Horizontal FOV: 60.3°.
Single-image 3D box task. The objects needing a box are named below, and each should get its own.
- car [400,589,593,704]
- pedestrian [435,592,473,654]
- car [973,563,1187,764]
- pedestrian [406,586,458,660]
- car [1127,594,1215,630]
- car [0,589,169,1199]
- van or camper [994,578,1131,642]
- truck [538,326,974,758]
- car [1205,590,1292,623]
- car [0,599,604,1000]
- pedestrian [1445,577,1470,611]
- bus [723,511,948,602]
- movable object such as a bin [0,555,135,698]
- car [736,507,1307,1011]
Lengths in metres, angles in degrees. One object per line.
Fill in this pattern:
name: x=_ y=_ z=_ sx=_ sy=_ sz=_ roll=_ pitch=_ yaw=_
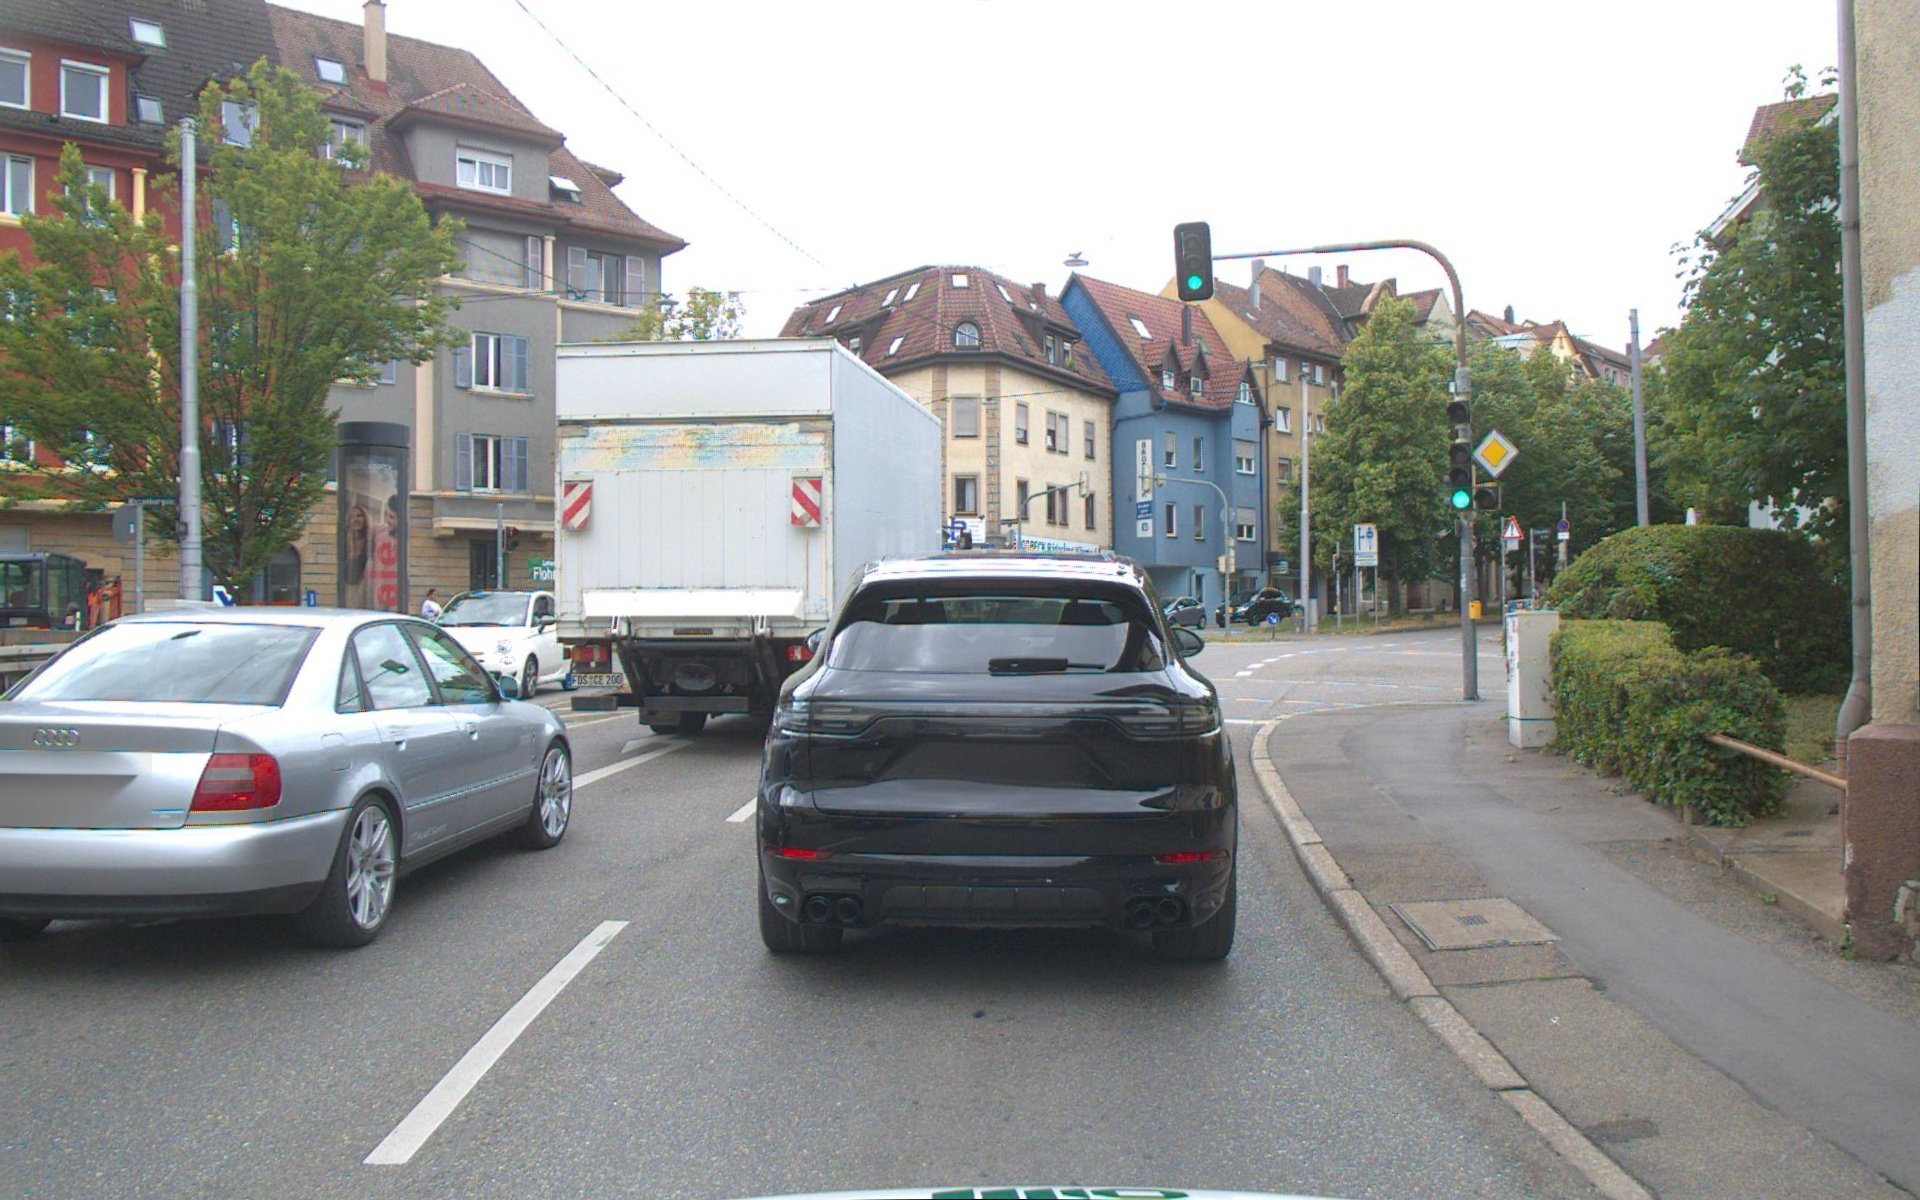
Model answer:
car: x=-6.450 y=0.606 z=23.381 sx=1.564 sy=1.472 sz=3.531 roll=-1 pitch=0 yaw=2
pedestrian: x=-11.262 y=0.500 z=36.807 sx=0.563 sy=1.361 sz=0.584 roll=0 pitch=0 yaw=24
car: x=1.203 y=0.516 z=15.132 sx=1.613 sy=1.583 sz=3.586 roll=1 pitch=0 yaw=9
pedestrian: x=-11.500 y=0.489 z=36.009 sx=0.777 sy=1.573 sz=0.737 roll=1 pitch=0 yaw=27
car: x=9.117 y=0.512 z=71.226 sx=1.691 sy=1.502 sz=4.194 roll=-2 pitch=-1 yaw=41
car: x=-2.696 y=0.714 z=1.216 sx=1.953 sy=1.454 sz=4.841 roll=0 pitch=0 yaw=-1
van or camper: x=3.411 y=0.317 z=55.668 sx=1.979 sy=2.049 sz=4.766 roll=1 pitch=0 yaw=-37
truck: x=-1.715 y=-0.524 z=18.168 sx=2.667 sy=3.606 sz=8.428 roll=1 pitch=0 yaw=7
car: x=13.368 y=0.314 z=76.483 sx=1.842 sy=1.441 sz=4.671 roll=-2 pitch=-2 yaw=41
car: x=-3.096 y=0.711 z=7.933 sx=1.594 sy=1.389 sz=4.130 roll=-1 pitch=0 yaw=4
pedestrian: x=30.170 y=-0.377 z=100.253 sx=1.173 sy=2.049 sz=0.984 roll=0 pitch=0 yaw=39
bus: x=-5.325 y=-1.635 z=67.161 sx=3.134 sy=3.150 sz=11.989 roll=-1 pitch=-1 yaw=-37
movable object such as a bin: x=-13.948 y=0.378 z=25.485 sx=1.351 sy=2.049 sz=3.525 roll=-1 pitch=0 yaw=-12
car: x=0.189 y=0.538 z=8.092 sx=1.990 sy=1.753 sz=4.499 roll=1 pitch=1 yaw=-1
